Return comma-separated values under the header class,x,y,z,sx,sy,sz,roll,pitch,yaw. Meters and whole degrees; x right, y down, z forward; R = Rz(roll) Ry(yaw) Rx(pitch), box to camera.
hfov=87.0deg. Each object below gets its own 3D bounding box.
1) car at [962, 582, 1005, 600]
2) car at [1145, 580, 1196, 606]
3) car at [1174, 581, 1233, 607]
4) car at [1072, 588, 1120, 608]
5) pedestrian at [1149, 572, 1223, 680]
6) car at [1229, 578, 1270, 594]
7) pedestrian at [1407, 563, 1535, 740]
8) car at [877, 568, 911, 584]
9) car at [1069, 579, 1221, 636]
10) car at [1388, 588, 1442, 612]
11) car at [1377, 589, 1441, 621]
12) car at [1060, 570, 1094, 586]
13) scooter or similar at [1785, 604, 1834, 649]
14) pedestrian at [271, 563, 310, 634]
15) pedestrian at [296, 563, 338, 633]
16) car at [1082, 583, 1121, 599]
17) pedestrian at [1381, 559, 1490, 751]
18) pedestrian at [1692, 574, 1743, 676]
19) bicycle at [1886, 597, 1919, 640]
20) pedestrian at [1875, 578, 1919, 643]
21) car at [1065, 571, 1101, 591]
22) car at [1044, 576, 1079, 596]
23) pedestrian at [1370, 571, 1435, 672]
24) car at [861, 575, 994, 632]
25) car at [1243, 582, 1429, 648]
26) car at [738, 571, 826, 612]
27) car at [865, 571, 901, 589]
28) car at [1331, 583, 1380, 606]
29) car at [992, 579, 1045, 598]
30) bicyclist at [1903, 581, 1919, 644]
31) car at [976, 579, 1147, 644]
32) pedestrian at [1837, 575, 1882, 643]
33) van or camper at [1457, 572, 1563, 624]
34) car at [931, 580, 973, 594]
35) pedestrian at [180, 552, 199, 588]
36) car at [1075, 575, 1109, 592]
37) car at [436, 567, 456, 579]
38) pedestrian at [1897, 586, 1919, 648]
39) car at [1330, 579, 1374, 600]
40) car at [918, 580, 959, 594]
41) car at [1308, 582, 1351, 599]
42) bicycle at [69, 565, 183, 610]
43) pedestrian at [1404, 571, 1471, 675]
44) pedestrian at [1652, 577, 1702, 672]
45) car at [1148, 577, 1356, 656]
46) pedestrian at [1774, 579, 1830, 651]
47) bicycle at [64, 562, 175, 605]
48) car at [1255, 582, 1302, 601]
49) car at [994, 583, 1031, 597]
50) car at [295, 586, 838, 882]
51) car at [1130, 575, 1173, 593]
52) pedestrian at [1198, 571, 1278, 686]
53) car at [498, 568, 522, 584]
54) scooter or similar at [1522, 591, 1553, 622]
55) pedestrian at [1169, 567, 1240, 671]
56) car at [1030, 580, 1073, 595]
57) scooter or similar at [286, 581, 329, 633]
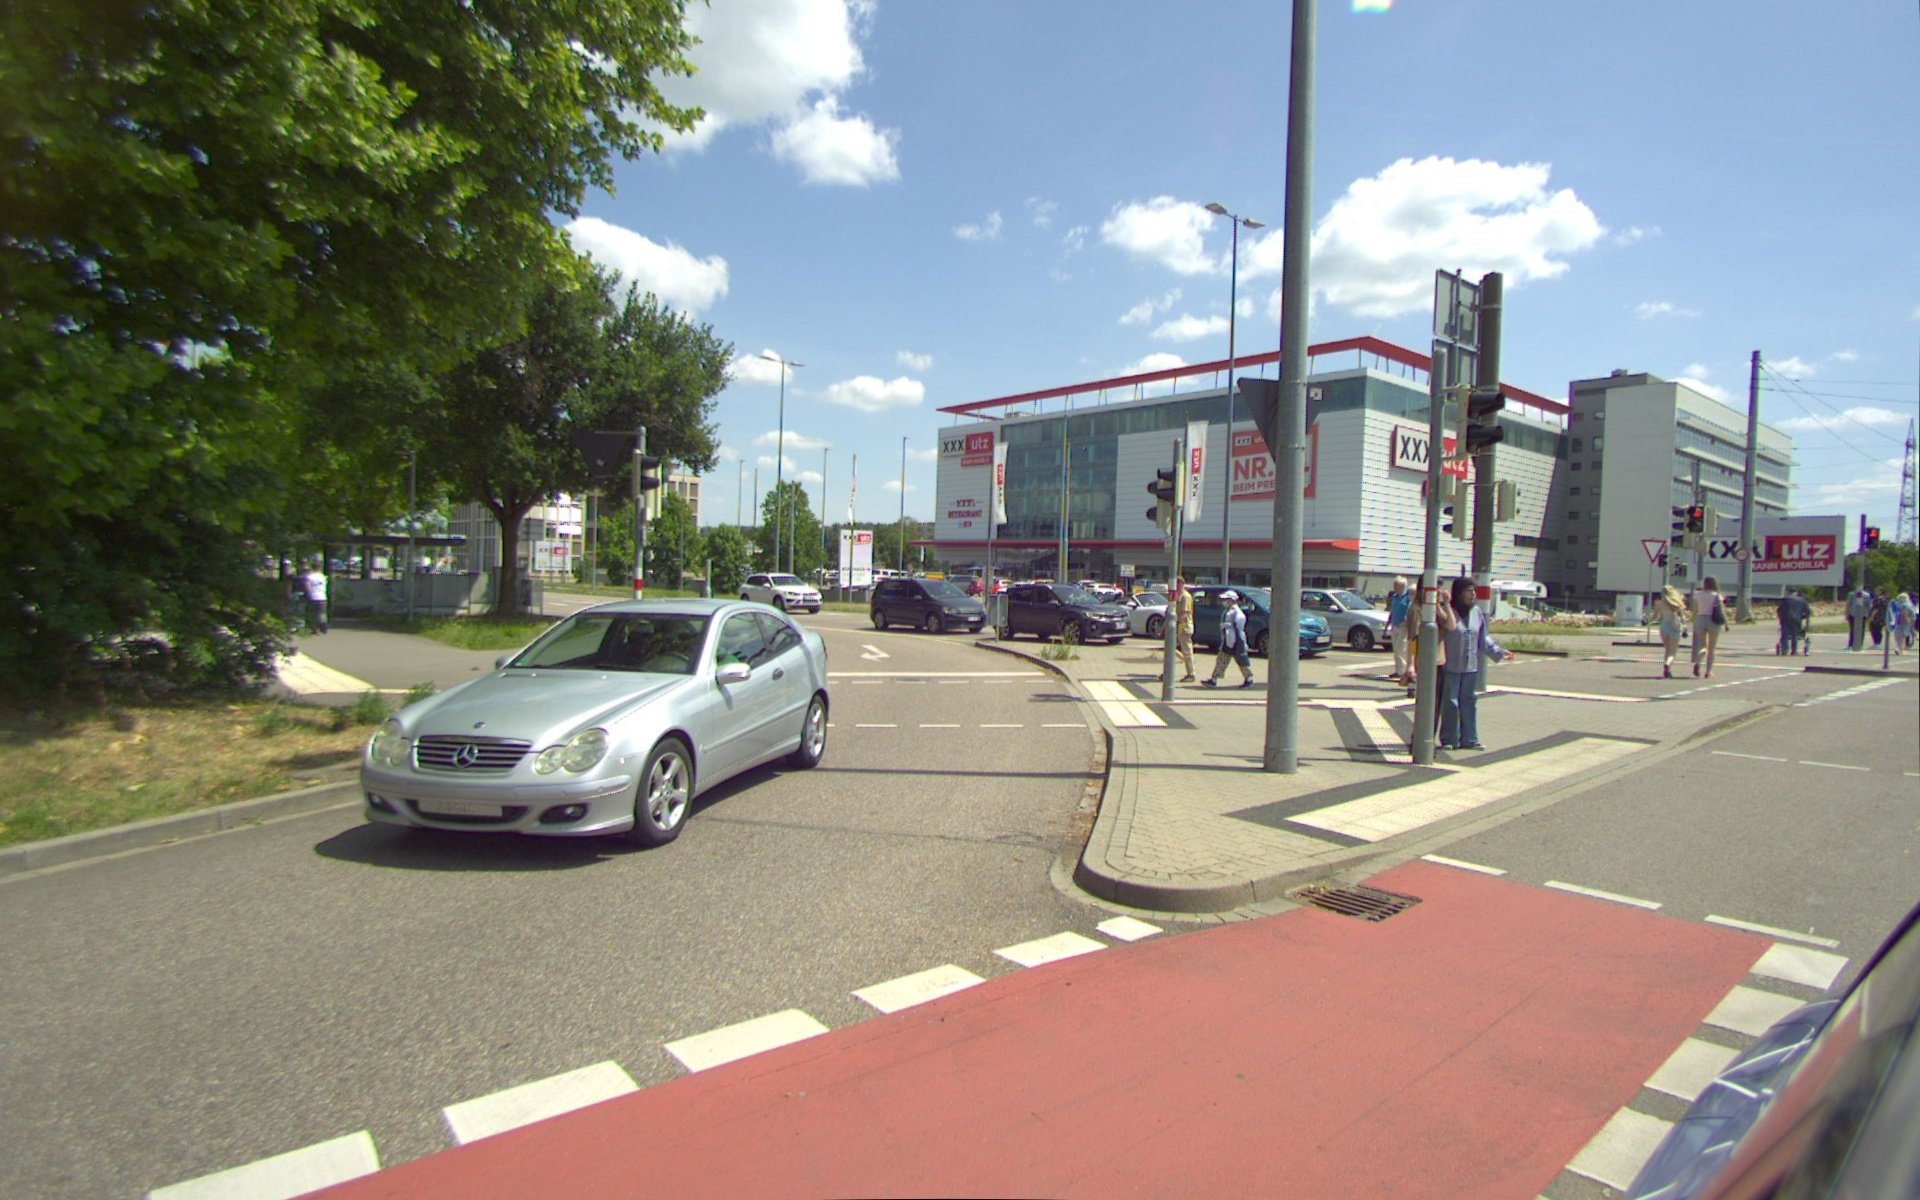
class,x,y,z,sx,sy,sz,roll,pitch,yaw
car,2.420,-0.938,102.411,4.094,1.723,1.854,0,1,-37
car,17.210,-0.578,82.682,3.928,2.039,1.998,-1,1,-38
car,19.506,-0.488,81.022,4.875,2.039,1.998,-1,1,-38
car,11.131,-0.212,82.604,3.934,1.565,1.850,-1,1,-44
pedestrian,3.629,0.391,16.267,0.834,1.680,0.799,0,1,-24
car,30.661,-1.461,107.116,4.440,1.714,1.997,-1,1,-41
pedestrian,4.912,0.470,9.788,0.753,1.626,0.897,0,1,0
car,-8.568,-3.147,131.471,3.931,2.039,1.996,-1,1,-42
car,5.123,0.173,28.568,1.769,1.415,4.234,-3,2,-34
car,35.069,-0.045,77.942,4.421,1.738,1.998,-1,1,-39
car,29.807,0.314,67.151,4.370,2.039,1.999,0,1,-37
car,14.930,-2.764,128.701,4.208,2.039,1.850,0,1,-38
scooter or similar,20.573,0.626,24.498,0.846,1.044,0.692,0,1,-34
pedestrian,-15.524,-0.045,23.467,0.610,1.606,0.623,2,1,44
pedestrian,-15.083,-0.059,23.740,0.918,1.606,0.623,2,1,44
car,14.373,-0.908,102.681,3.929,1.546,1.692,-1,1,-40
pedestrian,4.358,0.481,9.313,0.612,1.704,0.726,0,1,-3
pedestrian,12.818,0.405,17.127,0.628,1.687,0.528,0,1,-37
bicycle,26.925,0.536,28.038,0.816,1.176,1.878,1,1,1
pedestrian,26.112,0.277,28.173,0.800,1.782,0.788,1,1,34
car,12.678,-1.990,104.561,3.539,2.039,1.723,0,1,-39
car,11.893,-1.645,118.462,3.926,2.285,1.693,0,1,-37
pedestrian,7.514,0.349,17.204,0.846,1.658,0.605,-1,1,-26
car,-1.063,0.058,30.962,1.829,1.604,4.412,0,1,-38
car,8.967,0.308,24.359,1.770,1.414,3.834,0,1,-38
car,-7.656,-0.397,43.265,1.964,1.660,4.078,0,1,-39
car,-8.715,-2.298,114.870,3.928,2.039,1.544,0,1,-39
car,33.967,-0.472,86.960,4.438,1.918,1.998,-1,1,-39
car,5.343,-1.037,92.020,4.778,1.723,1.854,0,1,-36
bicyclist,26.919,0.353,28.014,0.801,1.722,0.799,2,1,-1
car,2.560,0.234,26.389,1.821,1.461,4.408,-1,2,-41
pedestrian,25.430,0.242,28.609,0.783,1.888,0.806,0,1,-36
van or camper,33.171,-0.175,60.922,7.472,2.983,2.717,-1,1,-37
car,-0.807,-1.366,105.906,4.177,1.430,1.860,0,1,-37
pedestrian,-34.365,-1.344,45.138,0.766,1.606,0.571,2,1,44
car,14.605,-1.812,111.779,3.663,1.622,1.693,2,1,-40
car,-68.804,-3.647,135.500,1.729,1.632,3.545,0,1,-39
pedestrian,23.365,0.405,24.775,0.589,1.494,0.794,0,0,42
car,38.125,-1.034,98.434,4.438,1.946,1.998,-1,1,-39
car,-2.278,-1.406,107.617,4.177,1.430,1.860,-1,1,-37
car,36.689,-0.943,100.435,4.438,1.714,1.998,-1,1,-39
bicycle,-23.914,-0.362,29.070,0.797,1.213,2.402,2,1,36
pedestrian,7.866,0.357,16.683,0.846,1.658,0.609,-1,1,-26
pedestrian,12.277,0.404,17.331,0.600,1.599,0.528,0,1,-37
car,6.348,0.284,22.323,1.964,1.575,3.996,0,1,-39
pedestrian,20.148,0.344,24.214,0.928,1.693,0.785,0,1,-34
bicycle,-24.683,-0.477,29.773,0.797,1.213,2.402,2,1,36
car,29.172,-0.798,92.758,4.438,1.756,1.998,-1,1,-39
car,5.902,-1.177,113.845,3.926,1.546,1.693,0,1,-37
car,-2.287,0.634,7.260,1.704,1.436,4.311,0,1,9
car,19.612,-1.615,103.538,4.438,1.756,1.998,-1,1,-39
pedestrian,4.183,0.406,15.269,0.834,1.680,0.799,0,1,-23
car,-58.446,-3.139,131.434,1.964,2.039,3.996,0,1,-39
scooter or similar,24.926,0.270,43.669,1.252,1.307,0.481,0,0,-22
pedestrian,4.081,0.297,16.922,0.834,1.680,0.799,0,1,-24
car,8.828,-1.203,97.934,3.925,1.457,1.854,0,1,-36
scooter or similar,-15.783,0.157,24.474,0.716,1.213,1.075,0,1,-42
